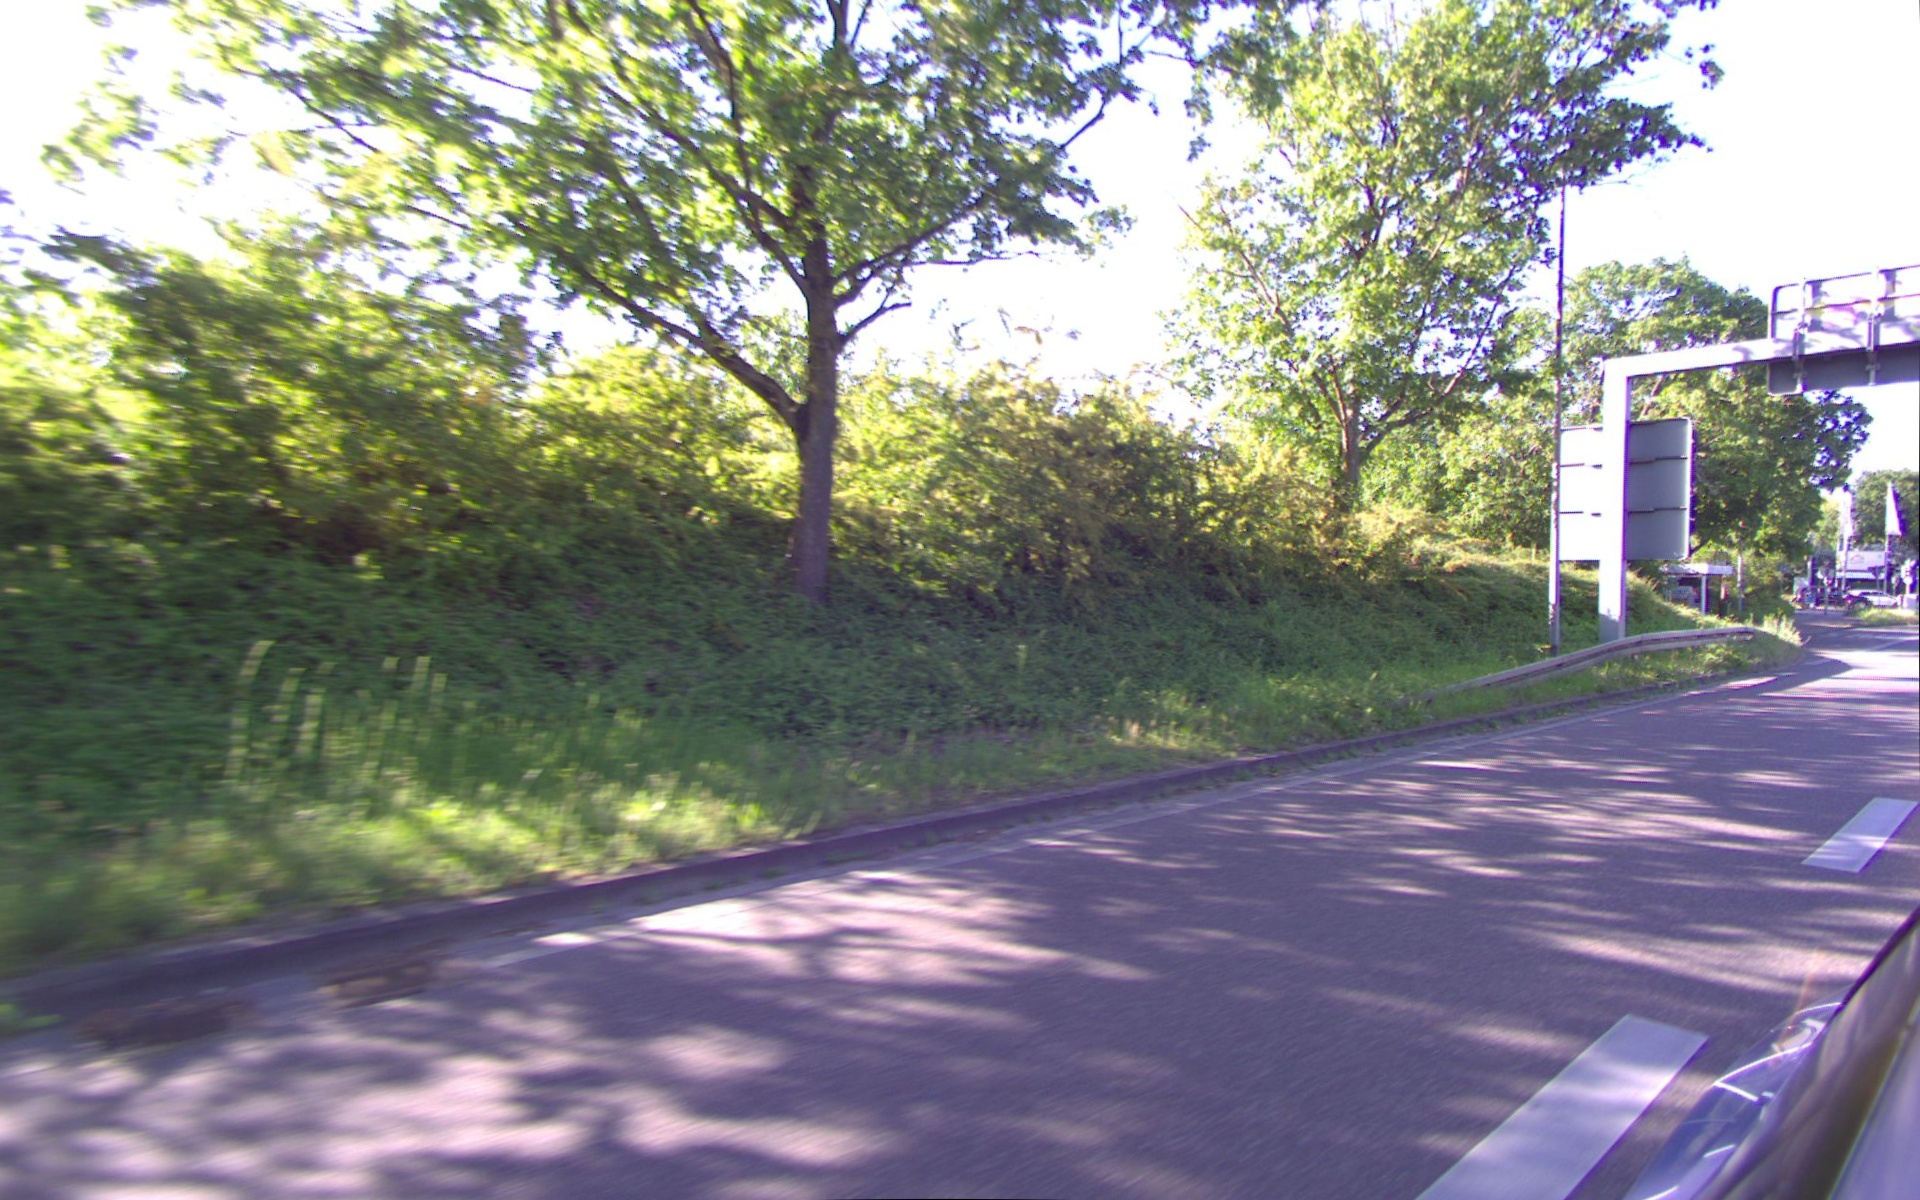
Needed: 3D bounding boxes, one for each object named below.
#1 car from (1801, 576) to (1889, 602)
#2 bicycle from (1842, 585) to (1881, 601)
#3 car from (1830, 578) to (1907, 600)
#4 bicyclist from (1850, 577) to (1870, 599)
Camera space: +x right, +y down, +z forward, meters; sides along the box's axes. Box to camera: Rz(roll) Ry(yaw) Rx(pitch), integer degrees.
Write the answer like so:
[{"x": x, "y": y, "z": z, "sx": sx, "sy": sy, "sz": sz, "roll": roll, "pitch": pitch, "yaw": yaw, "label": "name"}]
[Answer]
[{"x": 66.126, "y": -0.839, "z": 75.695, "sx": 4.618, "sy": 1.748, "sz": 1.887, "roll": 2, "pitch": 1, "yaw": 32, "label": "car"}, {"x": 64.677, "y": -0.508, "z": 72.595, "sx": 2.005, "sy": 1.105, "sz": 0.755, "roll": 3, "pitch": 3, "yaw": 39, "label": "bicycle"}, {"x": 69.874, "y": -0.835, "z": 77.899, "sx": 4.058, "sy": 1.558, "sz": 1.754, "roll": 2, "pitch": 1, "yaw": 31, "label": "car"}, {"x": 64.617, "y": -0.859, "z": 72.631, "sx": 0.976, "sy": 1.577, "sz": 0.751, "roll": 3, "pitch": 2, "yaw": 39, "label": "bicyclist"}]
